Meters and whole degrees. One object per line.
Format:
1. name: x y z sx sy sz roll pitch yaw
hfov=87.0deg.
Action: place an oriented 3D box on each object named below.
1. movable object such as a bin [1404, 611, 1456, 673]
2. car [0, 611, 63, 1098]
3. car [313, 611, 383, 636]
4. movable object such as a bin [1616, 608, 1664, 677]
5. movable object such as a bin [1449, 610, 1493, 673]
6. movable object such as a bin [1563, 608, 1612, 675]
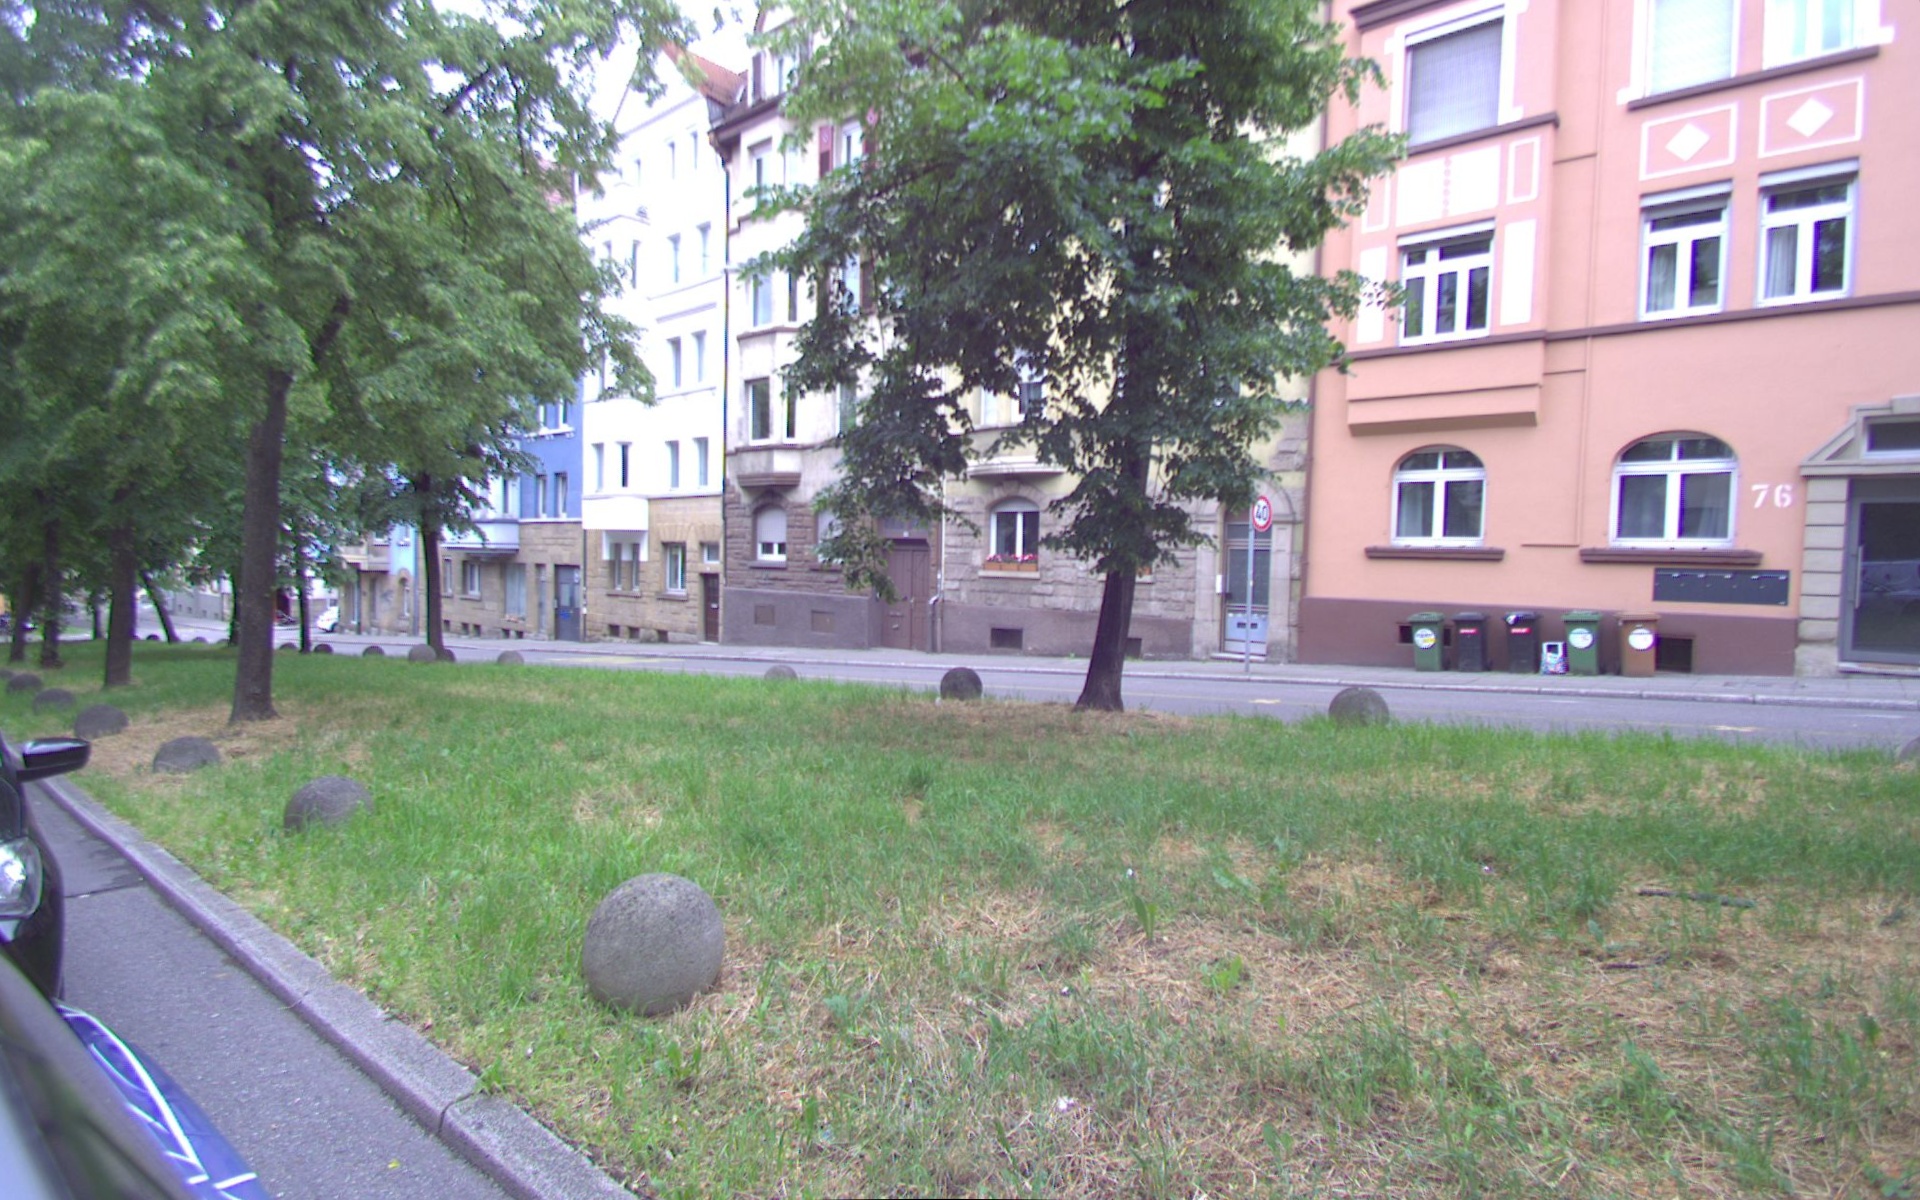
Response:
1. movable object such as a bin: 7.520 0.654 16.185 0.617 0.955 0.610 -1 0 40
2. car: -4.588 0.771 3.654 3.295 1.476 1.590 -1 -2 41
3. car: -35.349 1.323 58.506 3.244 1.341 1.674 -1 0 -40
4. movable object such as a bin: 9.640 0.585 14.341 0.514 0.928 0.750 -1 0 36
5. movable object such as a bin: 7.963 0.638 15.769 0.531 0.953 0.575 -1 0 35
6. movable object such as a bin: 9.152 0.592 14.755 0.558 0.928 0.648 -1 0 36
